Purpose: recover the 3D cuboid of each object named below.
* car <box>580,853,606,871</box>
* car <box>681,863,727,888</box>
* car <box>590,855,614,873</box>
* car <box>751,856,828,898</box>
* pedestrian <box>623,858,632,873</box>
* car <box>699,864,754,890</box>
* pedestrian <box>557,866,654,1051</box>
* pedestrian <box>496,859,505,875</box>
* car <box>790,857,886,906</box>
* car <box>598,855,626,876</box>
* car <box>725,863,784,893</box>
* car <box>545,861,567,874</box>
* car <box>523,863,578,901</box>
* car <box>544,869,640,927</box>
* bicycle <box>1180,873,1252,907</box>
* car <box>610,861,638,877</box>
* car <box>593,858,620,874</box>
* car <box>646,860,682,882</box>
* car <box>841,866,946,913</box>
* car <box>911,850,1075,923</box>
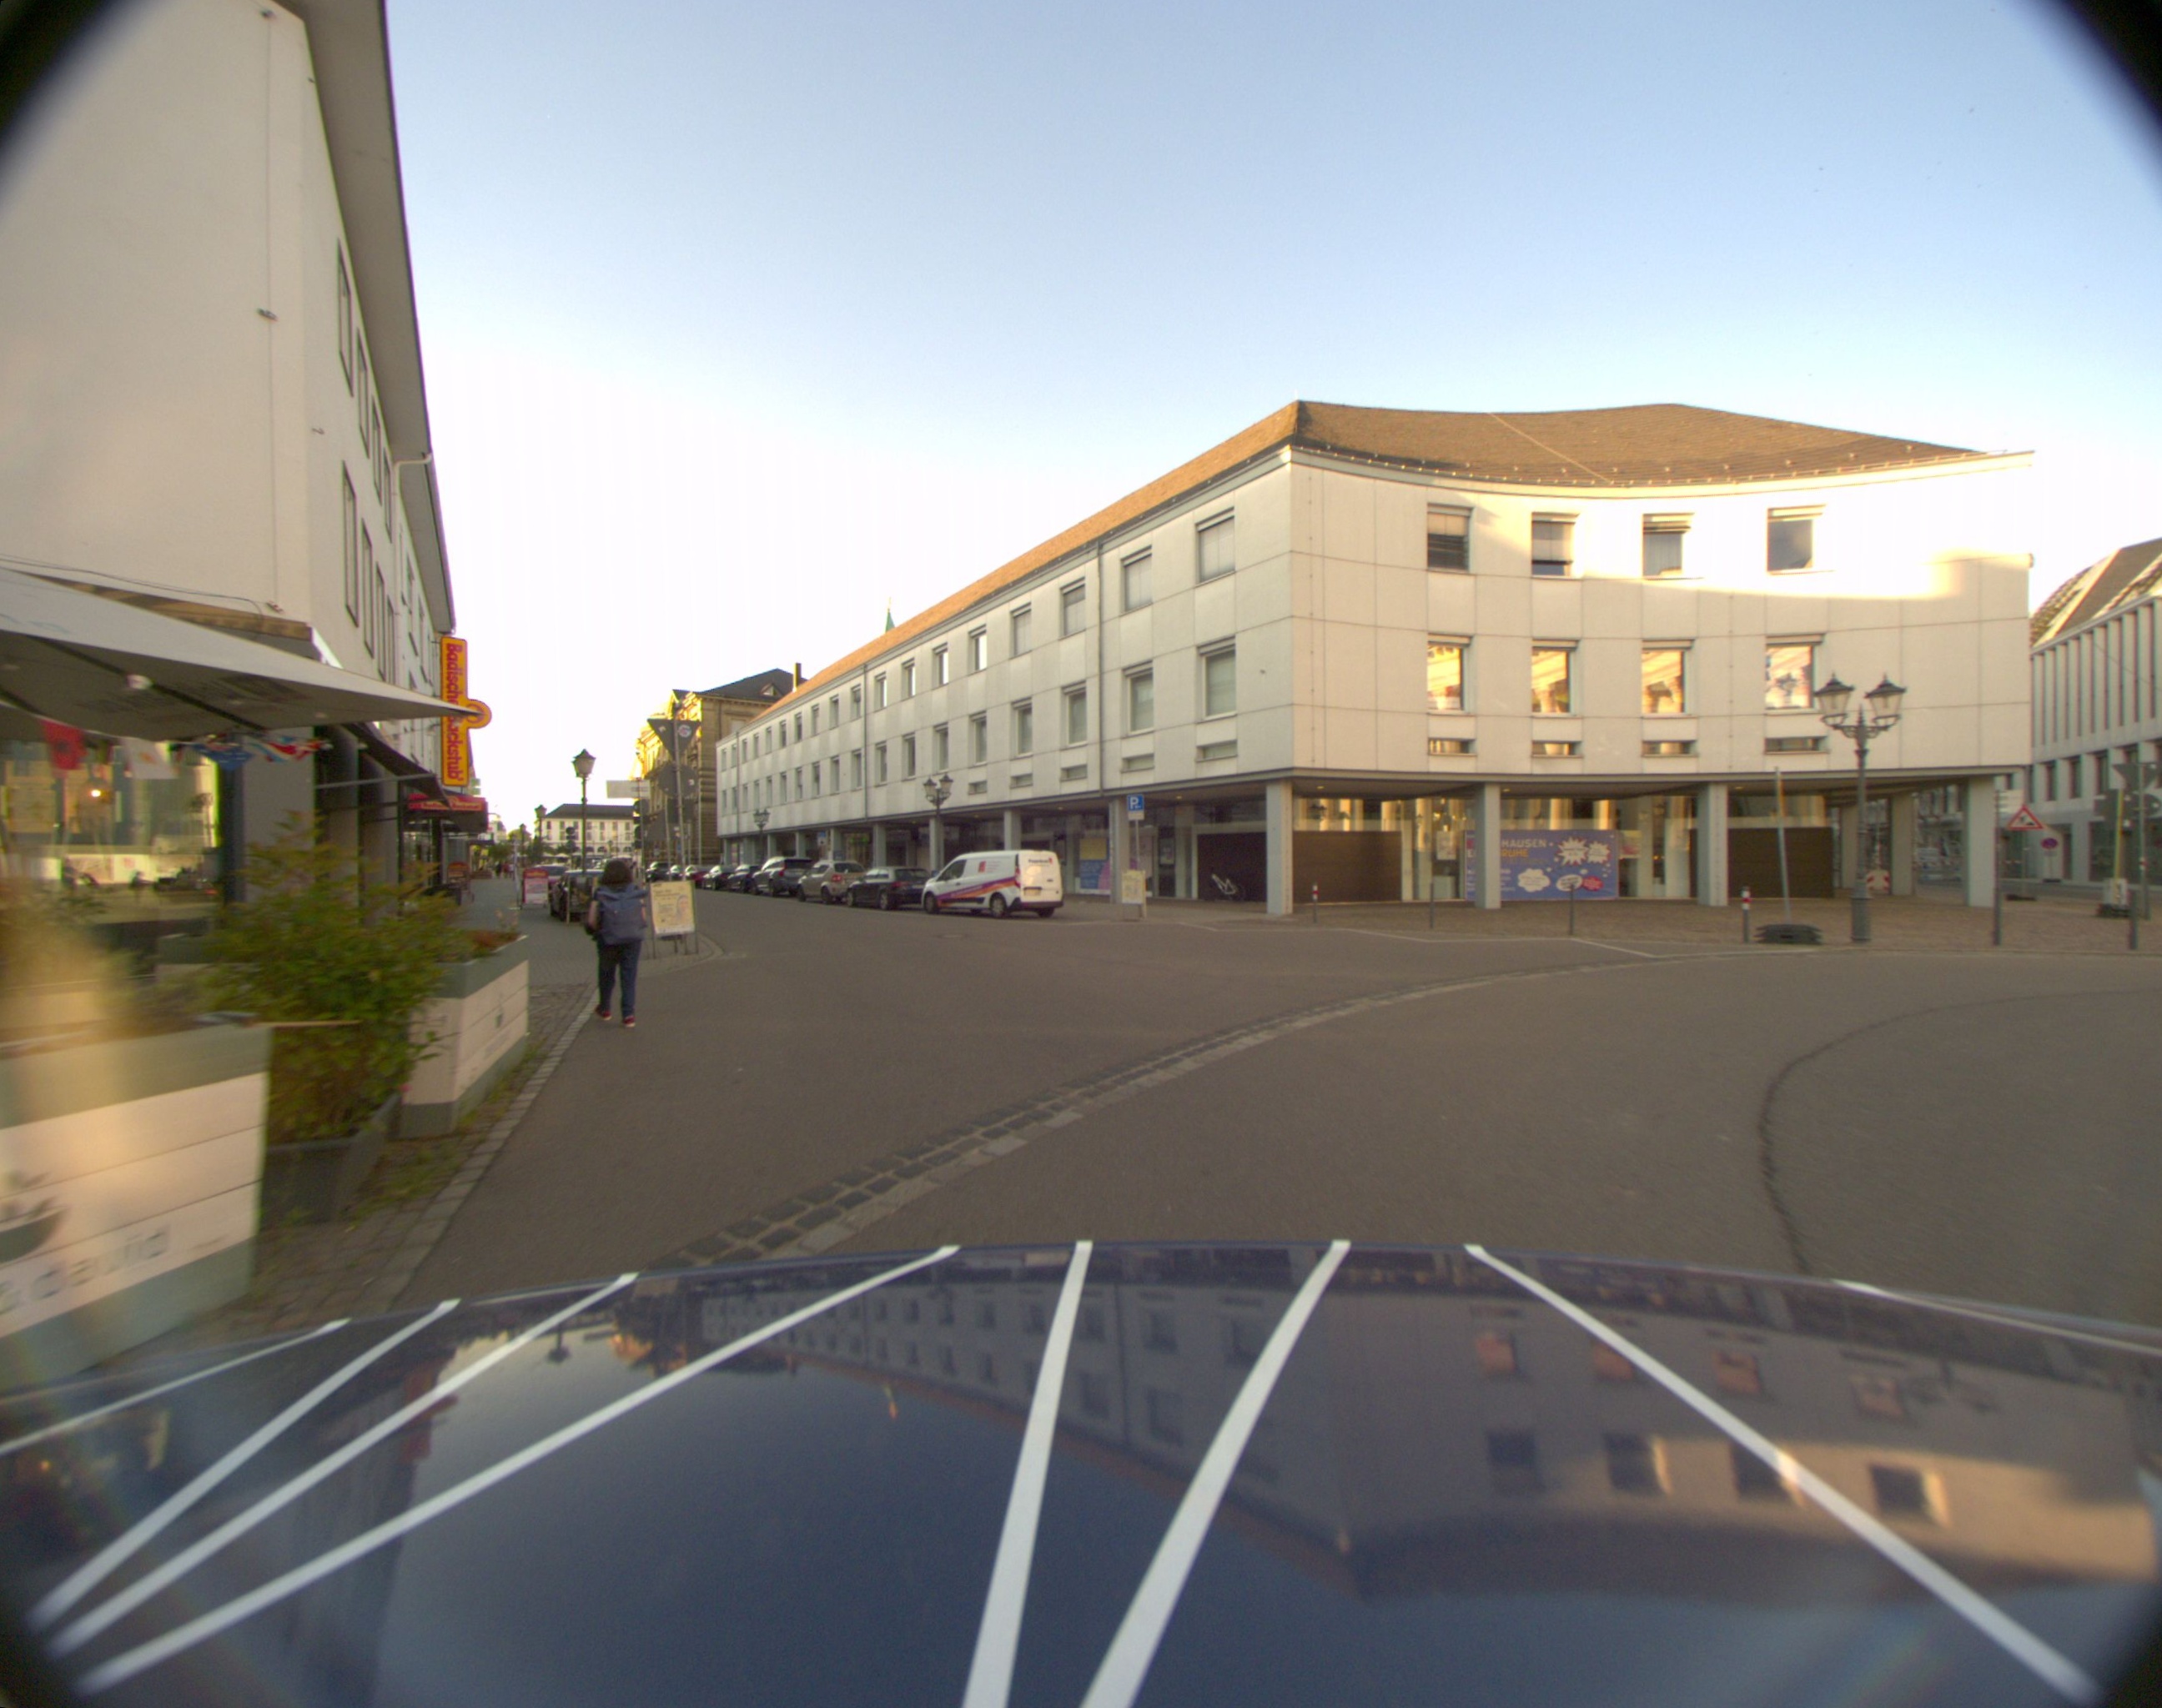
[{"bbox_3d":[-61.906,0.995,96.340,2.004,2.158,5.192,-1,1,-40],"label":"car"},{"bbox_3d":[-23.277,1.296,46.874,1.794,1.400,4.077,-1,0,-37],"label":"car"},{"bbox_3d":[-57.445,1.203,91.036,2.004,2.075,5.193,-1,0,-37],"label":"car"},{"bbox_3d":[-13.019,0.975,33.790,2.004,1.718,4.503,1,-1,-37],"label":"car"},{"bbox_3d":[-53.811,1.324,90.232,0.717,1.720,0.894,-5,3,-36],"label":"pedestrian"},{"bbox_3d":[-20.045,1.272,42.899,2.004,1.346,3.989,1,-1,-37],"label":"car"},{"bbox_3d":[-4.543,0.943,7.257,0.694,1.638,0.694,-1,1,-38],"label":"pedestrian"},{"bbox_3d":[-62.376,1.391,81.675,0.717,1.720,0.871,-1,1,-36],"label":"pedestrian"},{"bbox_3d":[-9.233,0.989,28.712,2.004,1.652,3.988,1,0,-41],"label":"car"},{"bbox_3d":[-50.541,1.213,81.826,2.004,2.065,4.975,-1,1,-38],"label":"car"},{"bbox_3d":[-16.351,1.175,37.928,1.682,1.391,3.989,2,-1,-39],"label":"car"},{"bbox_3d":[-60.454,1.537,87.506,1.773,1.413,3.989,1,-1,-39],"label":"car"},{"bbox_3d":[-23.179,1.184,33.139,1.768,1.514,3.667,-1,0,-37],"label":"car"},{"bbox_3d":[-14.299,1.189,22.118,1.811,1.455,4.105,0,0,-41],"label":"car"},{"bbox_3d":[4.280,1.124,24.206,0.737,0.978,2.329,-2,1,-39],"label":"bicycle"},{"bbox_3d":[-46.232,1.469,76.858,2.004,1.486,4.153,-1,0,-37],"label":"car"},{"bbox_3d":[-54.127,1.368,86.614,2.004,1.742,4.976,-1,0,-39],"label":"car"},{"bbox_3d":[-31.220,1.245,56.827,1.794,1.605,4.154,-1,0,-37],"label":"car"},{"bbox_3d":[-6.256,1.098,25.023,1.686,1.346,4.094,-1,1,-40],"label":"car"},{"bbox_3d":[-2.572,0.820,21.325,2.004,1.805,4.770,-2,1,-45],"label":"car"}]
